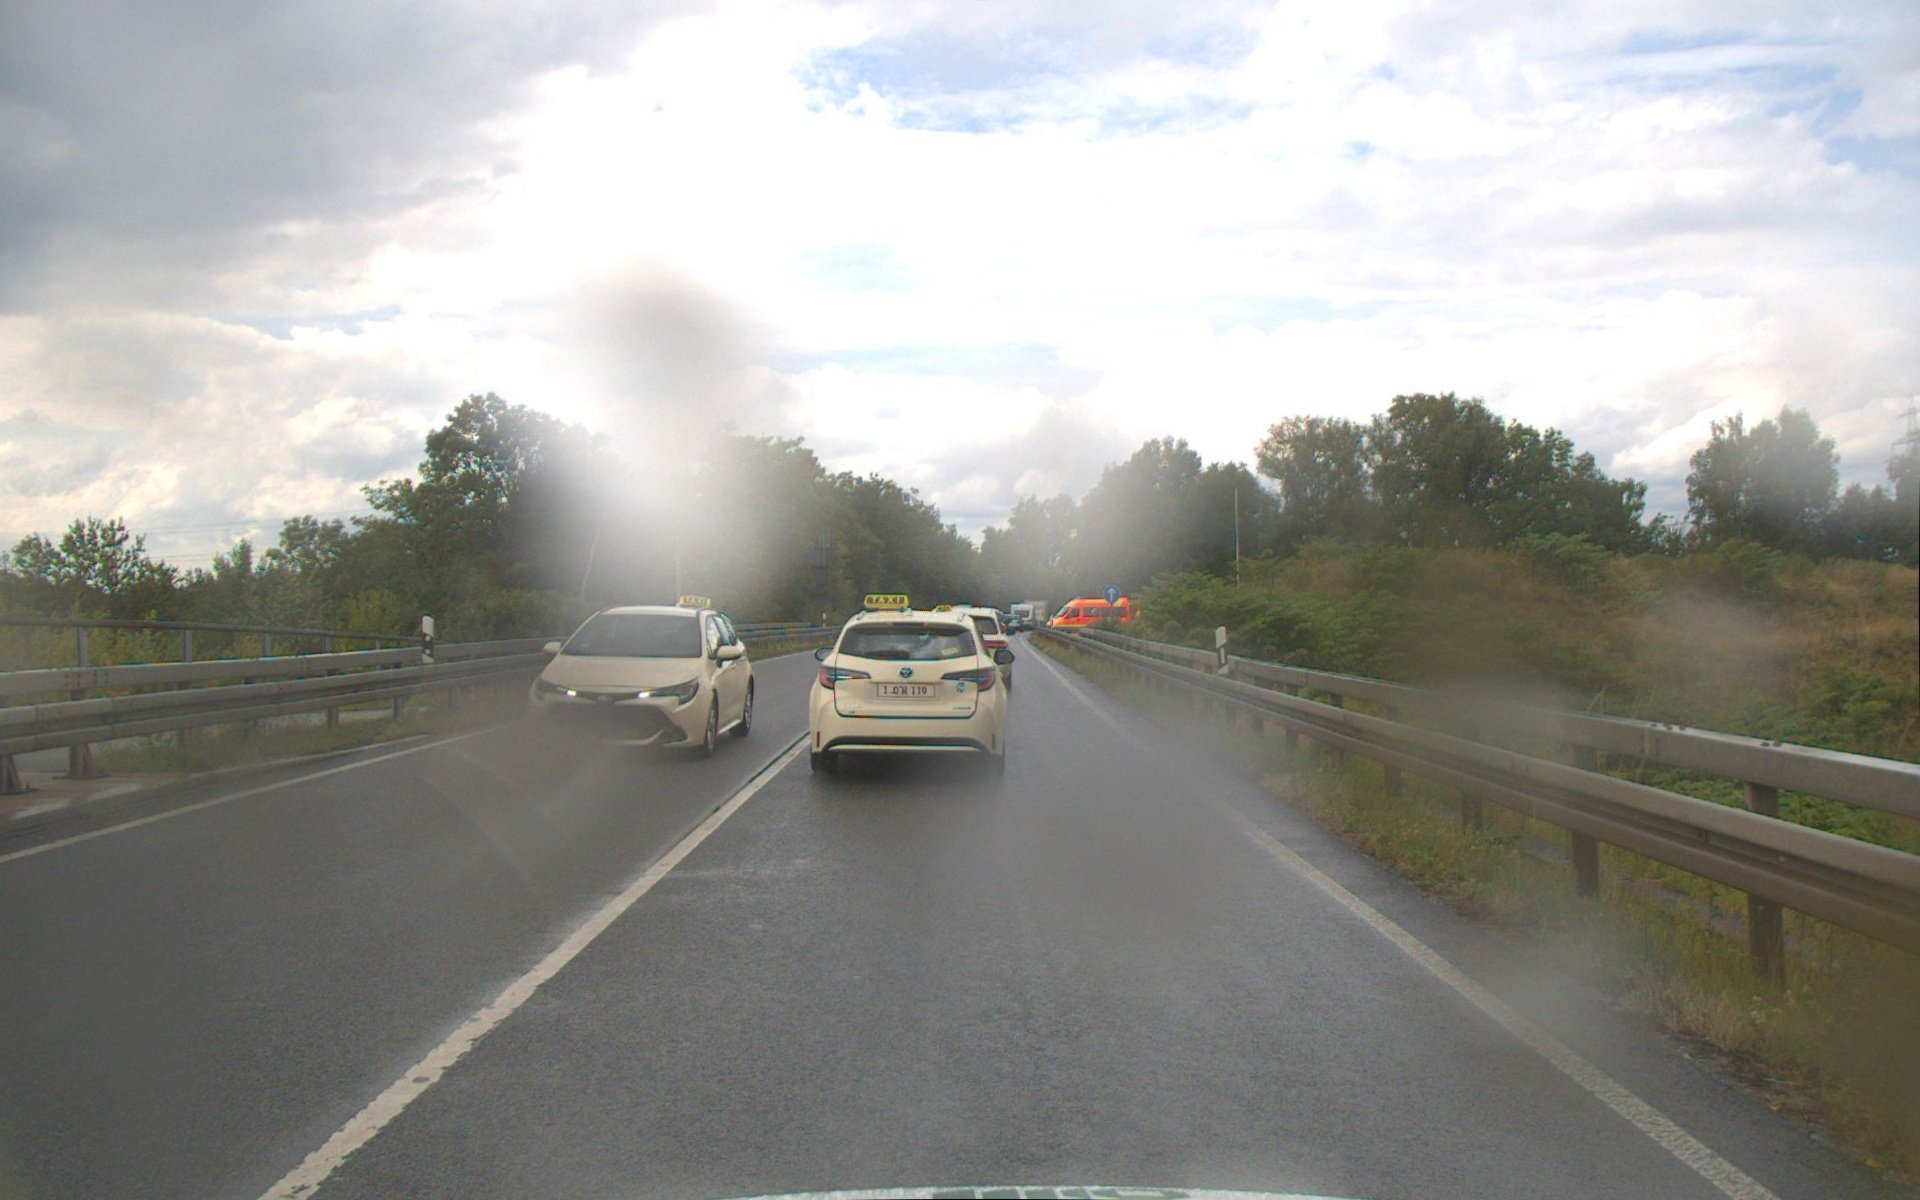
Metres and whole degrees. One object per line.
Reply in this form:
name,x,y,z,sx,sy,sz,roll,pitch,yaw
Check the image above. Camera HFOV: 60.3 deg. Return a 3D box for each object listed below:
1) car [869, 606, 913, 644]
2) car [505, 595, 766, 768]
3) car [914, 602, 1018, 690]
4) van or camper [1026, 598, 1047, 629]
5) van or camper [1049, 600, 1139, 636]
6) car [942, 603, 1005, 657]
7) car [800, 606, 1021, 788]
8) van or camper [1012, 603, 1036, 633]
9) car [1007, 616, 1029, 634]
car,-2.982,1.074,72.348,1.743,1.588,4.301,1,0,-1
car,-3.202,0.733,17.236,1.773,1.536,4.611,1,0,0
car,0.100,0.813,31.263,1.816,1.468,4.171,1,1,0
van or camper,9.144,1.620,197.635,2.284,3.625,6.307,1,0,1
van or camper,8.834,1.171,109.163,5.583,2.281,2.012,1,0,-15
car,0.383,0.875,50.230,1.816,1.468,4.171,1,1,0
car,-0.412,0.814,15.827,1.816,1.418,4.171,1,1,0
van or camper,6.468,1.836,168.742,2.284,2.914,6.307,1,0,1
car,5.098,2.171,145.506,1.815,1.468,4.173,1,0,4
